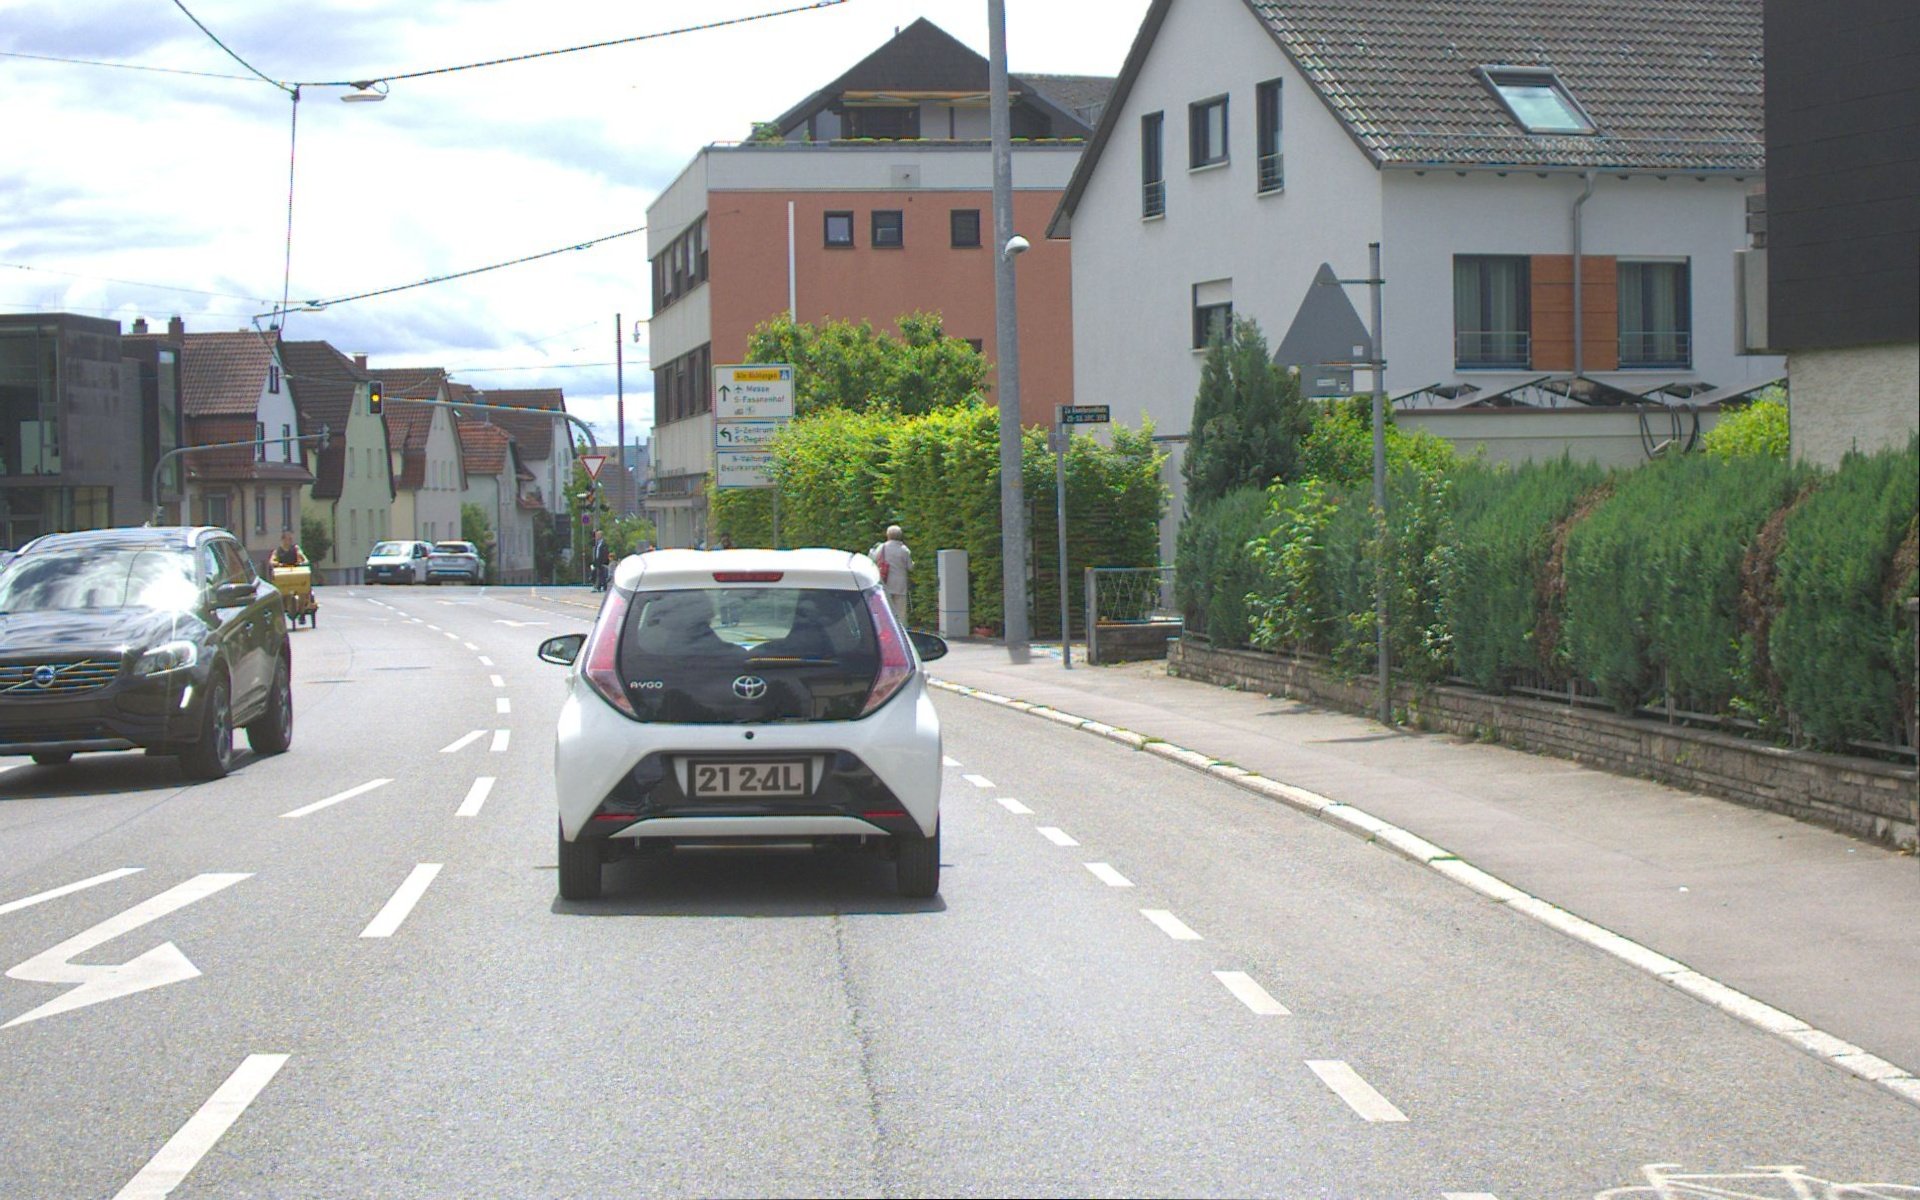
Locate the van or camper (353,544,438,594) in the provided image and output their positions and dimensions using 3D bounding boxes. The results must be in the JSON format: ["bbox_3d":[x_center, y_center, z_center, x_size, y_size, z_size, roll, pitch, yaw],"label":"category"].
[{"bbox_3d":[-22.363,-1.241,136.394,2.116,1.919,5.284,1,1,4],"label":"van or camper"}]

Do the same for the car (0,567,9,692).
[{"bbox_3d":[-11.500,0.378,37.403,1.777,1.412,4.441,-1,1,-10],"label":"car"}]

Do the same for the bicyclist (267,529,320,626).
[{"bbox_3d":[-11.964,-0.419,61.756,0.792,1.708,1.209,-1,1,-6],"label":"bicyclist"}]

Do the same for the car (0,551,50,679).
[{"bbox_3d":[-12.234,0.165,42.377,1.777,1.486,4.567,-1,1,-13],"label":"car"}]

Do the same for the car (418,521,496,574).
[{"bbox_3d":[-18.255,-1.895,124.904,1.994,1.897,4.000,1,1,4],"label":"car"}]

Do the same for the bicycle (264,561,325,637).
[{"bbox_3d":[-11.961,-0.030,61.843,0.863,1.297,2.662,-1,1,-7],"label":"bicycle"}]

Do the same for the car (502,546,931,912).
[{"bbox_3d":[-1.075,0.502,15.420,1.697,1.451,3.299,1,1,-4],"label":"car"}]

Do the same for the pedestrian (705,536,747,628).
[{"bbox_3d":[-4.213,-0.330,61.829,0.602,1.600,0.836,-3,1,-9],"label":"pedestrian"}]

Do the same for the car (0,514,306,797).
[{"bbox_3d":[-5.776,0.332,23.294,1.916,1.643,4.294,-5,1,-2],"label":"car"}]

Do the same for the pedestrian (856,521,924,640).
[{"bbox_3d":[-0.970,-0.280,47.818,0.798,1.612,0.653,-2,1,-9],"label":"pedestrian"}]
